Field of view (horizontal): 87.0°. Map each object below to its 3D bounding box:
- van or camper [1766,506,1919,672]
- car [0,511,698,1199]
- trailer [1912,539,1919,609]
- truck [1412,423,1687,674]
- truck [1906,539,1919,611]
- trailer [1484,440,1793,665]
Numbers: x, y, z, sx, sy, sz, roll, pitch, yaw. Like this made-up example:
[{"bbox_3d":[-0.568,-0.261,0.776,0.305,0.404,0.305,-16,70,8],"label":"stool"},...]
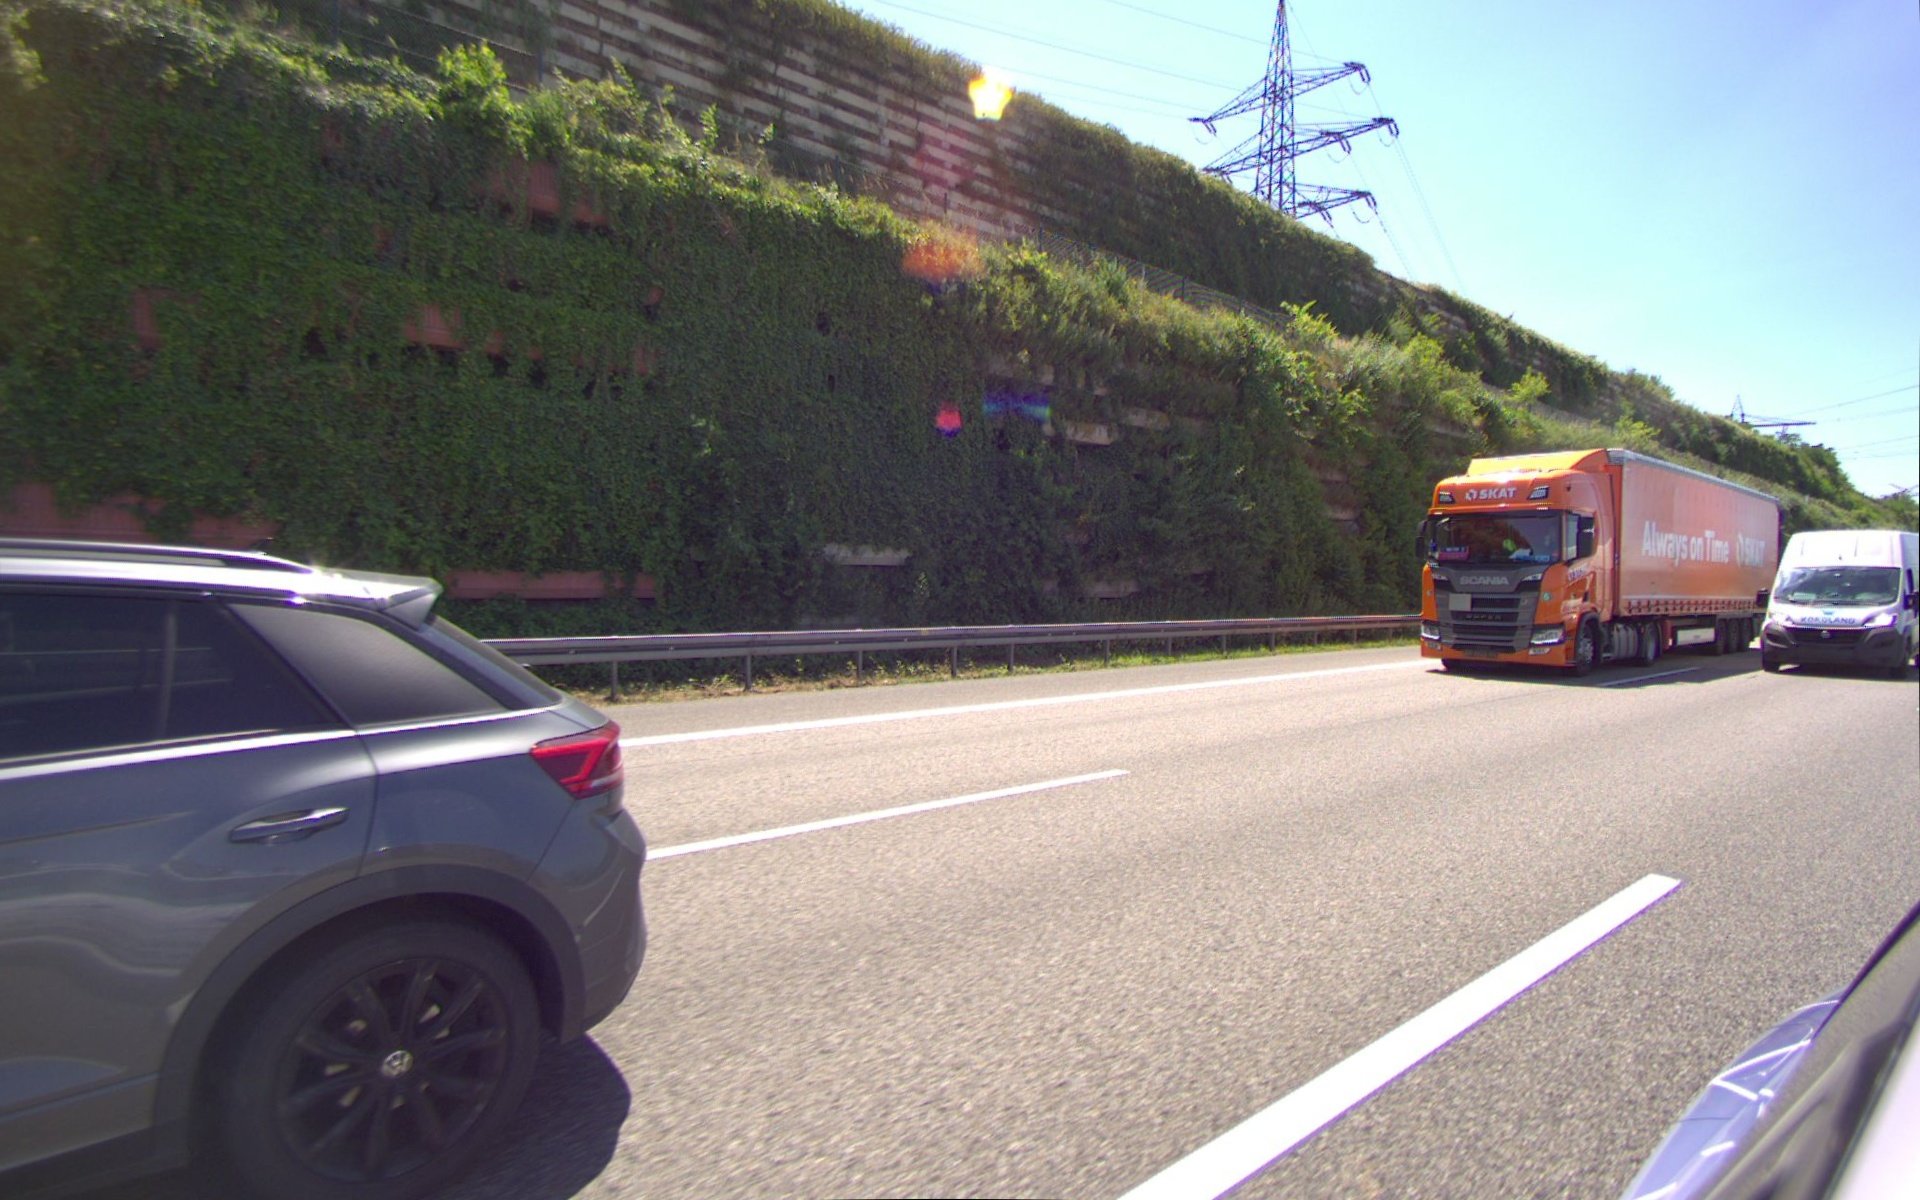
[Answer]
[{"bbox_3d":[18.035,-0.223,20.067,6.640,2.803,2.100,0,1,-42],"label":"van or camper"},{"bbox_3d":[-2.770,0.588,2.167,3.926,1.544,1.752,-1,2,-41],"label":"car"},{"bbox_3d":[65.727,-1.605,66.962,16.734,4.264,2.518,0,1,-42],"label":"trailer"},{"bbox_3d":[11.456,-0.880,19.417,6.412,4.042,2.622,0,1,-41],"label":"truck"},{"bbox_3d":[59.553,-1.477,61.407,6.147,4.272,2.512,-1,2,-41],"label":"truck"},{"bbox_3d":[16.403,-0.918,23.690,13.369,4.055,2.650,0,1,-41],"label":"trailer"}]
